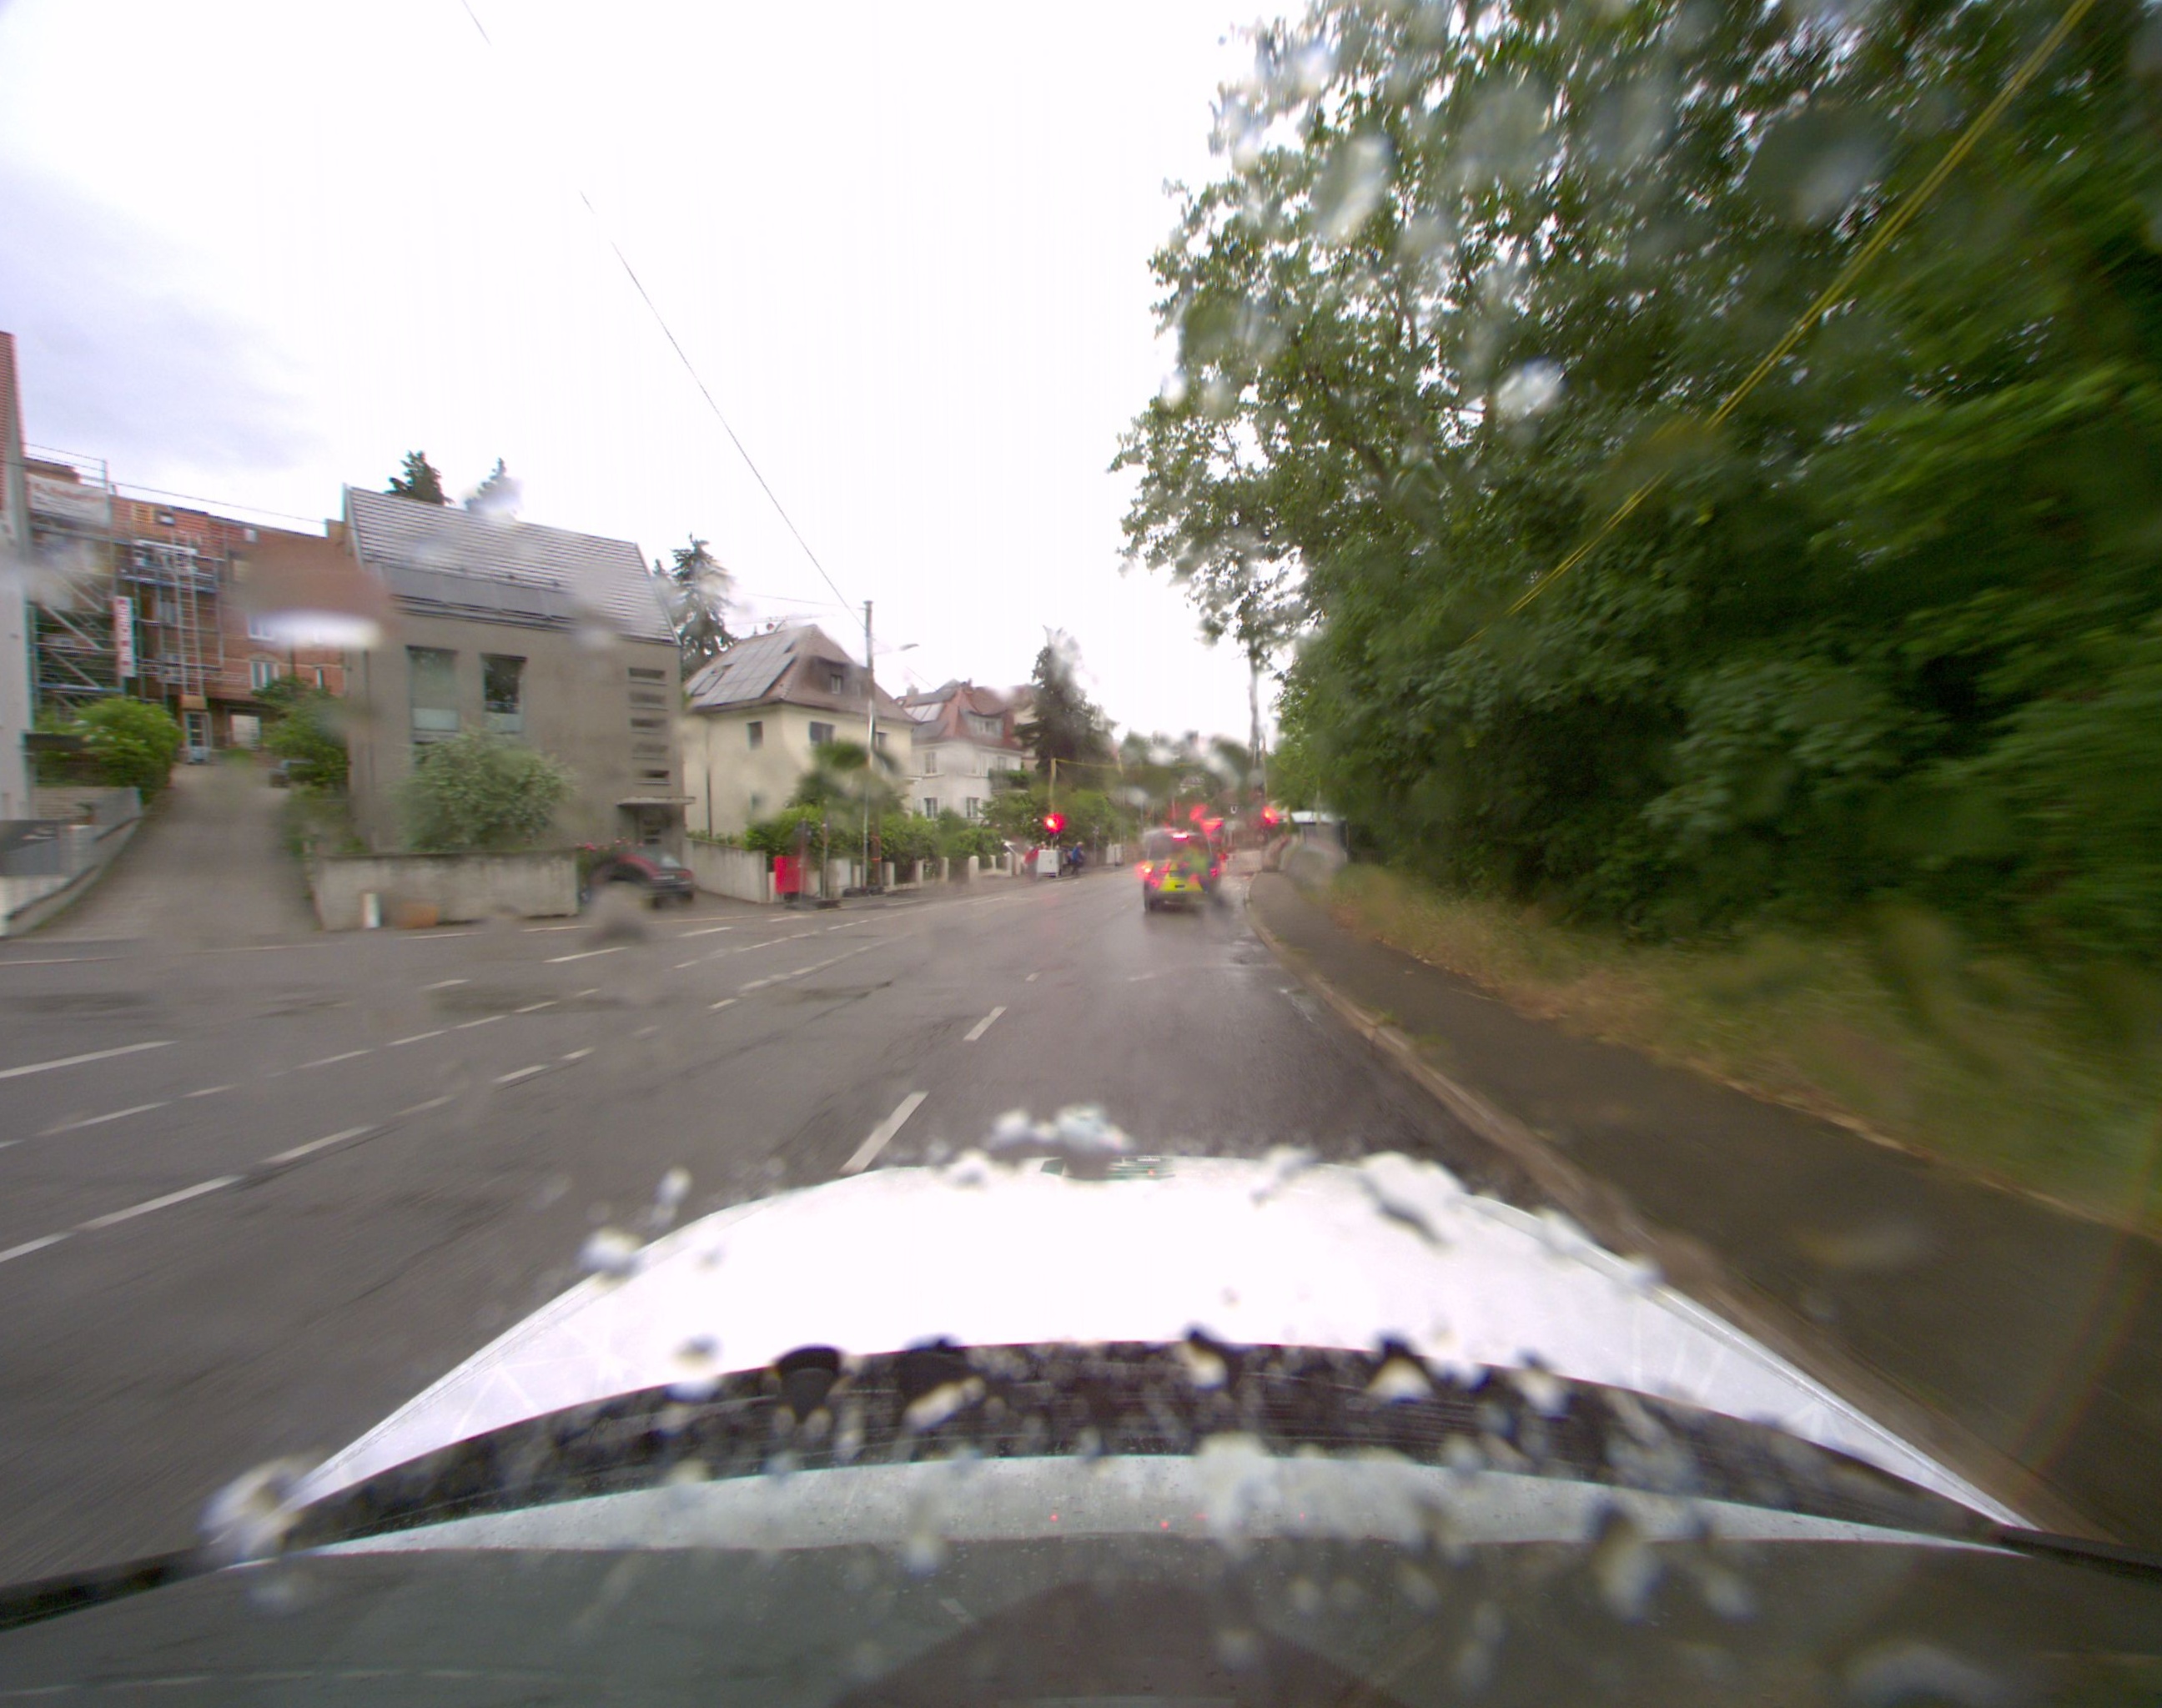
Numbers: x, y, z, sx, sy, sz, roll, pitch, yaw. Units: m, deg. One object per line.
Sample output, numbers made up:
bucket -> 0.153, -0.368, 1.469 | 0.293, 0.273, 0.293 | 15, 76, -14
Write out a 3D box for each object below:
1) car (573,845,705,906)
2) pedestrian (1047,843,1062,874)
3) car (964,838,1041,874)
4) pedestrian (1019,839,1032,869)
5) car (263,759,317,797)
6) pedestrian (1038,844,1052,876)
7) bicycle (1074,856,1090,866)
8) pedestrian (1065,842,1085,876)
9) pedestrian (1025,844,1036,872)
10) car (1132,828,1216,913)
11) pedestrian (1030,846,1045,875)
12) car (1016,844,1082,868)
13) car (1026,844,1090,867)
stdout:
car -> -11.754, 0.497, 21.580 | 3.949, 1.443, 1.851 | 0, 1, 42
pedestrian -> -1.391, 0.240, 43.064 | 0.682, 1.604, 0.607 | 1, -2, 8
car -> -4.470, 0.110, 46.403 | 3.953, 2.013, 1.839 | 0, 0, 20
pedestrian -> -2.909, 0.013, 42.836 | 0.559, 1.582, 0.469 | 1, -2, 11
car -> -38.267, -3.625, 39.466 | 1.792, 1.464, 3.572 | -2, 0, -43
pedestrian -> -1.969, 0.333, 44.574 | 0.622, 1.715, 0.594 | 1, -2, 11
bicycle -> 0.072, 0.490, 58.415 | 1.045, 0.662, 0.322 | 0, -2, 19
pedestrian -> -0.309, 0.262, 43.221 | 0.885, 1.787, 0.830 | 1, -2, 8
pedestrian -> -2.746, 0.222, 44.387 | 0.522, 1.507, 0.430 | 1, -2, 11
car -> 2.485, 0.347, 21.863 | 1.983, 2.013, 4.410 | 1, 1, 6
pedestrian -> -2.310, 0.333, 43.538 | 0.622, 1.522, 0.594 | 1, -2, 11
car -> -2.110, 0.114, 53.596 | 3.954, 1.486, 1.768 | 0, -2, 19
car -> -1.589, 0.127, 55.696 | 3.954, 1.486, 1.768 | 0, -2, 19
